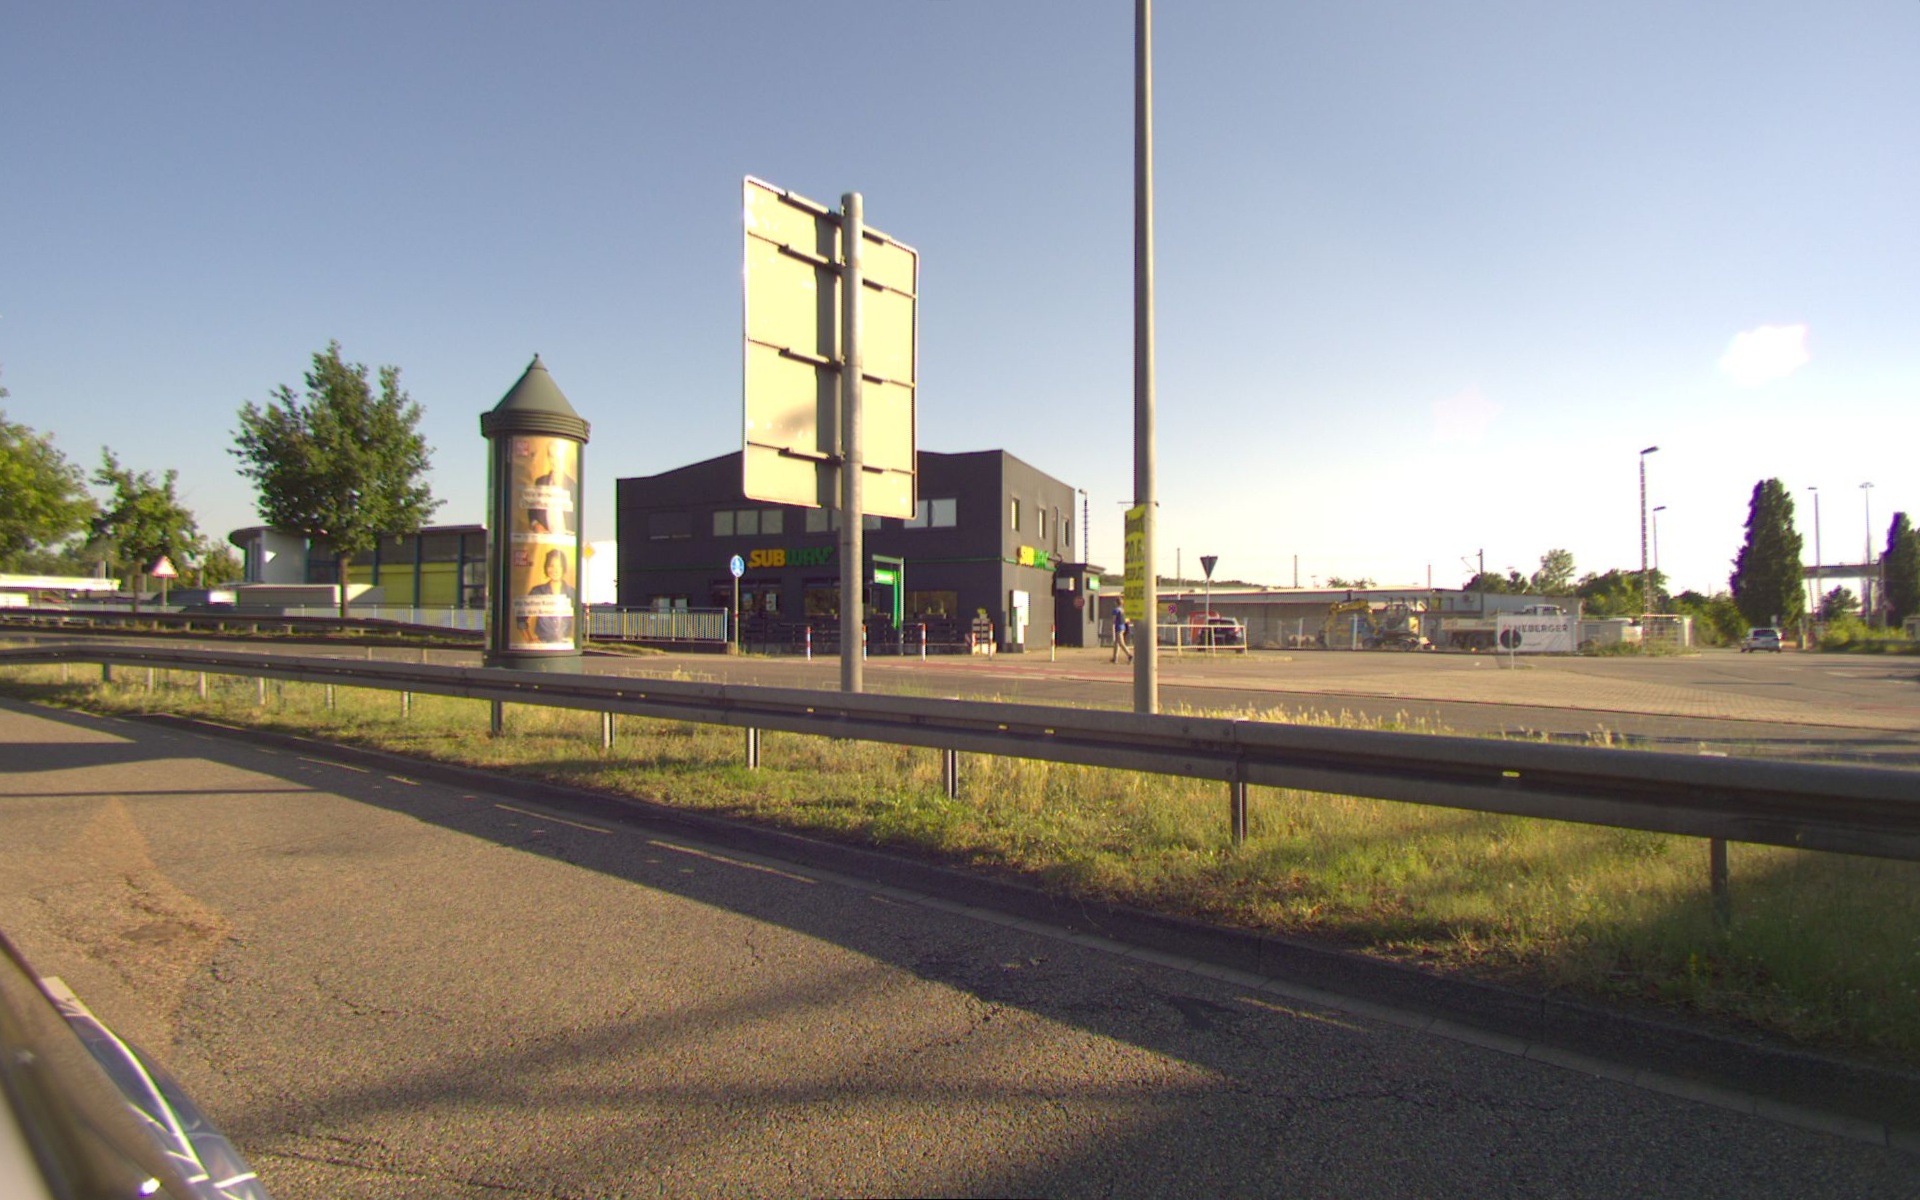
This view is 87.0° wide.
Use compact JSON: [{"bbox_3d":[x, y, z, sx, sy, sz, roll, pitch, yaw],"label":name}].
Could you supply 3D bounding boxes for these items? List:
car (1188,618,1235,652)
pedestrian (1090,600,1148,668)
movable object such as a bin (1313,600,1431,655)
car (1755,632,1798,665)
[{"bbox_3d":[15.985,2.191,64.096,1.991,2.029,3.962,-1,0,28],"label":"car"},{"bbox_3d":[4.481,0.928,28.457,1.085,1.849,1.258,-1,0,42],"label":"pedestrian"},{"bbox_3d":[25.325,1.652,62.395,6.587,3.241,2.428,-1,0,23],"label":"movable object such as a bin"},{"bbox_3d":[55.008,3.226,68.244,1.996,2.029,3.952,-1,0,35],"label":"car"}]
